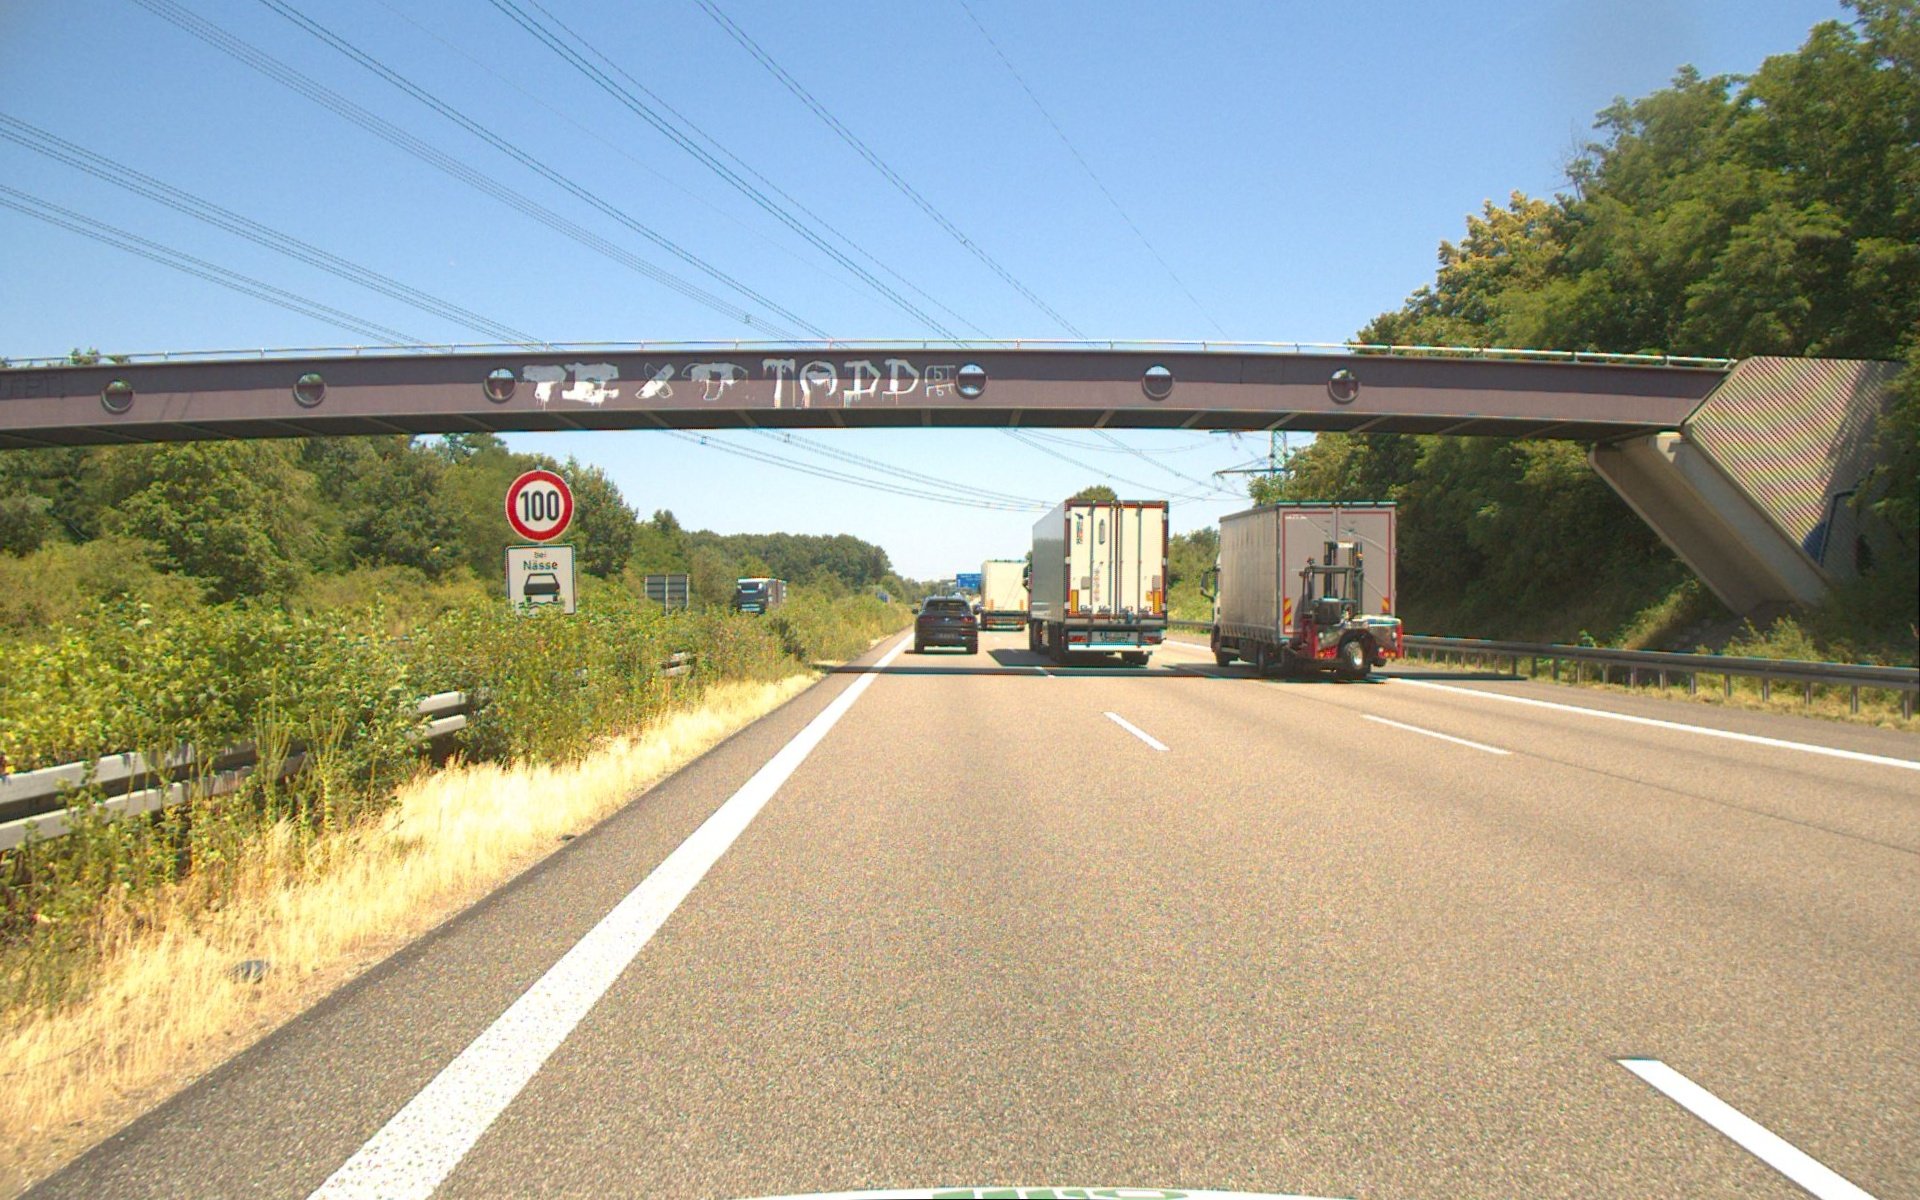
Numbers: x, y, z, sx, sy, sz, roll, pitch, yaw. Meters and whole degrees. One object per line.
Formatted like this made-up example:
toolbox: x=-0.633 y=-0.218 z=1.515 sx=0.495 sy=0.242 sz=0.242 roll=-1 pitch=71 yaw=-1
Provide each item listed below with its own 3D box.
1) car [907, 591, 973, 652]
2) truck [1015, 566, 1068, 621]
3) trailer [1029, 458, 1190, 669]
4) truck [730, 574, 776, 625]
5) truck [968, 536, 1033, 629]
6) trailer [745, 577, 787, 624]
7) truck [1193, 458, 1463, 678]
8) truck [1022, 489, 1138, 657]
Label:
car: x=-0.658 y=0.636 z=51.546 sx=1.953 sy=1.803 sz=3.998 roll=0 pitch=0 yaw=-2
truck: x=6.993 y=-0.533 z=144.336 sx=3.441 sy=4.571 sz=13.244 roll=1 pitch=0 yaw=-2
trailer: x=3.841 y=-0.838 z=45.733 sx=3.024 sy=4.970 sz=12.254 roll=1 pitch=0 yaw=-1
truck: x=-18.120 y=-0.017 z=145.092 sx=2.702 sy=4.194 sz=10.214 roll=-1 pitch=0 yaw=0
truck: x=2.338 y=-1.009 z=100.131 sx=3.441 sy=5.257 sz=10.256 roll=1 pitch=0 yaw=-1
trailer: x=-18.128 y=0.060 z=155.390 sx=2.710 sy=4.167 sz=10.297 roll=-2 pitch=0 yaw=0
truck: x=8.210 y=-0.610 z=38.997 sx=3.498 sy=4.319 sz=11.648 roll=1 pitch=0 yaw=-1
truck: x=3.742 y=-0.797 z=53.047 sx=3.024 sy=4.970 sz=6.596 roll=1 pitch=0 yaw=-1
